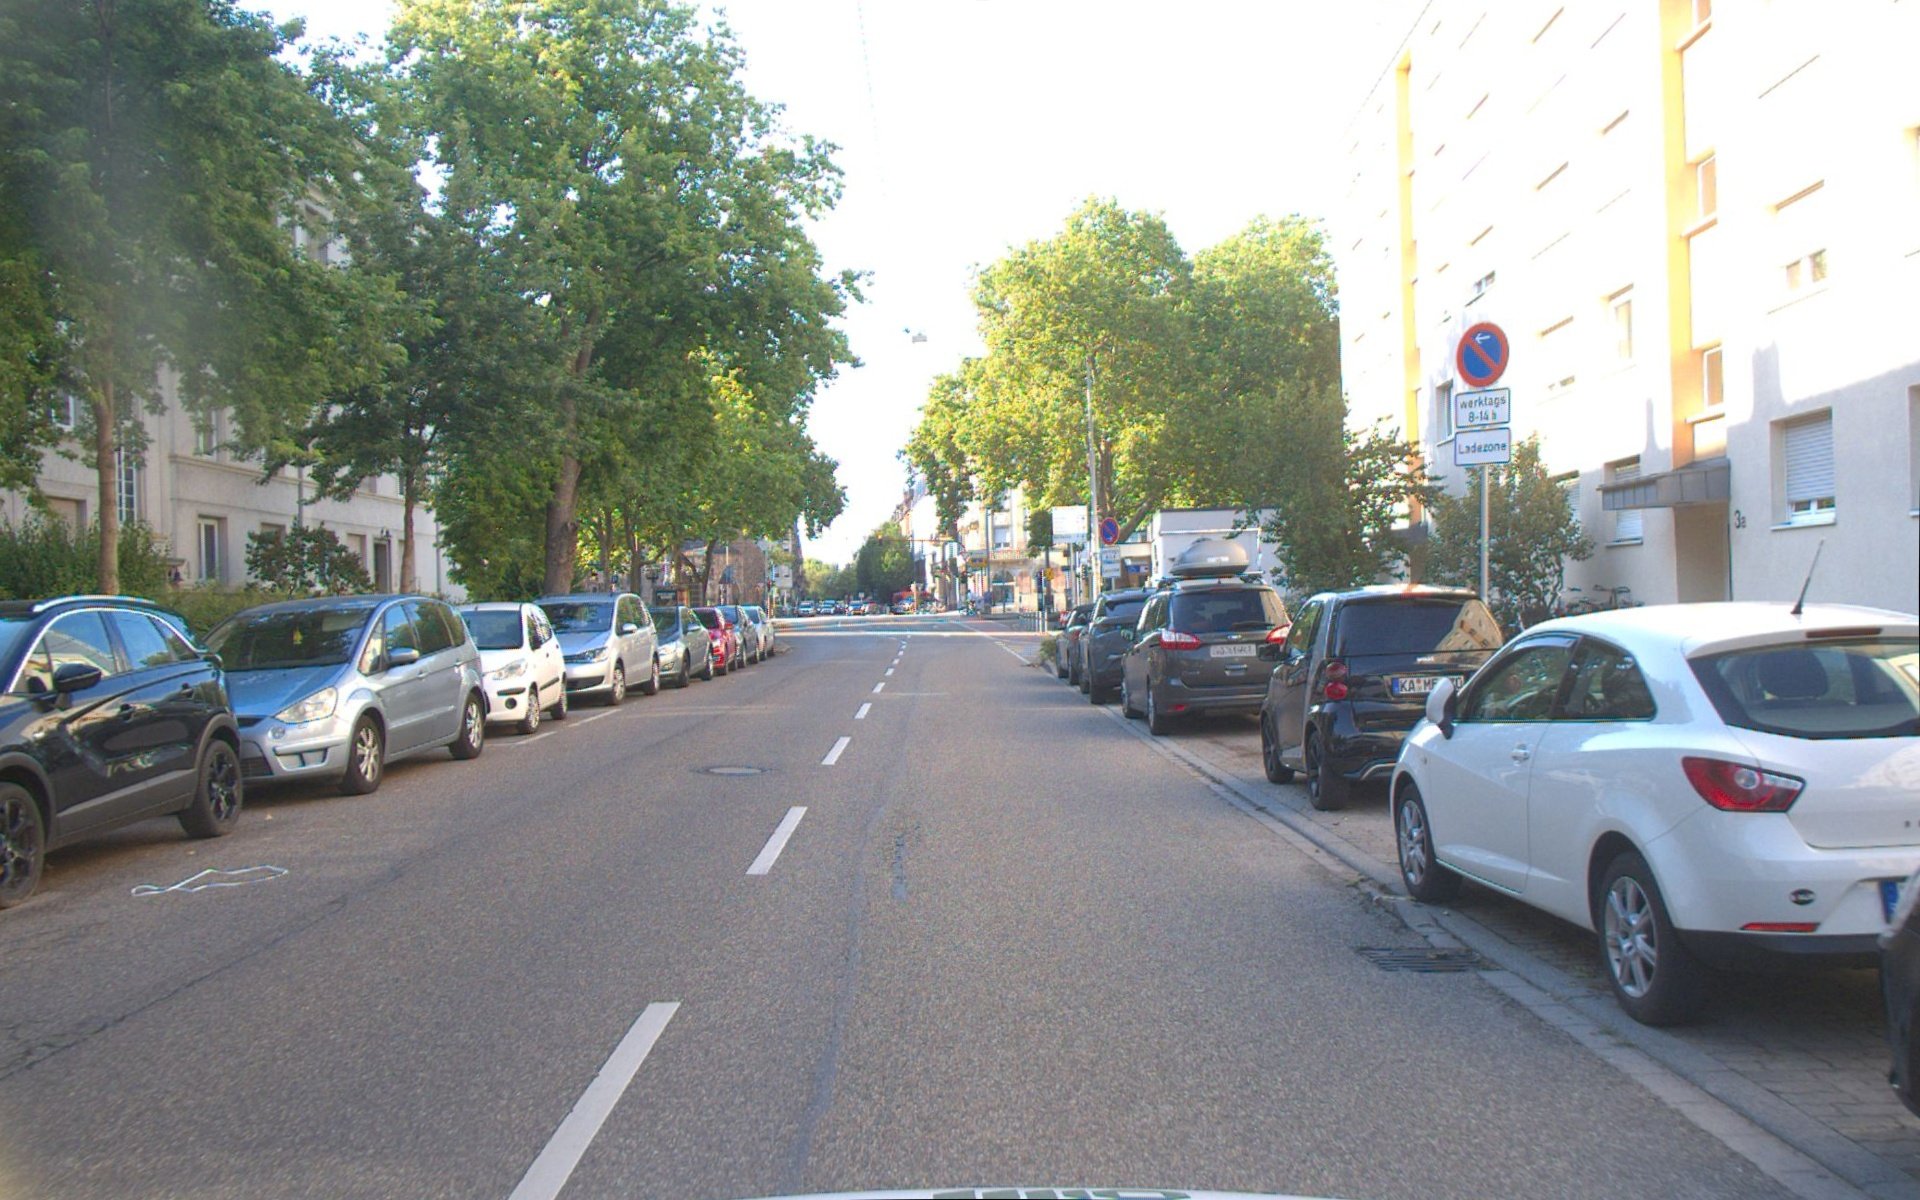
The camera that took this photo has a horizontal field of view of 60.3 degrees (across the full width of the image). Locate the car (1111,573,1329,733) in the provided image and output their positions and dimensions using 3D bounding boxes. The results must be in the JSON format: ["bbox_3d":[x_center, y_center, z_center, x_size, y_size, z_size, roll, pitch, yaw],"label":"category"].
[{"bbox_3d":[3.009,0.563,20.031,1.859,1.680,4.342,-1,0,-1],"label":"car"}]

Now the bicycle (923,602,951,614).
[{"bbox_3d":[-2.272,0.803,163.832,2.750,1.225,0.509,0,-1,-8],"label":"bicycle"}]

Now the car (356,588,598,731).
[{"bbox_3d":[-5.836,0.702,20.494,1.833,1.586,4.100,0,-1,-1],"label":"car"}]

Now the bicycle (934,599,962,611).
[{"bbox_3d":[-1.246,0.506,165.260,2.752,1.225,0.515,1,-1,-11],"label":"bicycle"}]

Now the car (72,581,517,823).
[{"bbox_3d":[-5.549,0.732,14.647,1.834,1.585,5.055,-6,0,-1],"label":"car"}]

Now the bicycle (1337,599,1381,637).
[{"bbox_3d":[10.870,0.486,45.122,0.623,0.941,2.230,0,1,-1],"label":"bicycle"}]

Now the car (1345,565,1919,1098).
[{"bbox_3d":[3.044,0.646,6.915,1.645,1.440,4.722,-2,-1,-1],"label":"car"}]

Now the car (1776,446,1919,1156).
[{"bbox_3d":[3.385,0.437,2.300,1.983,1.780,4.765,-4,0,-1],"label":"car"}]

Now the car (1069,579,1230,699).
[{"bbox_3d":[2.831,0.588,25.658,1.888,1.688,4.676,0,-1,-1],"label":"car"}]

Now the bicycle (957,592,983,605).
[{"bbox_3d":[0.707,-0.123,119.348,1.746,0.911,0.750,-1,0,24],"label":"bicycle"}]

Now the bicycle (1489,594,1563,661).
[{"bbox_3d":[9.041,0.443,26.464,0.599,1.039,1.833,0,-1,1],"label":"bicycle"}]

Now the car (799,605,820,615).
[{"bbox_3d":[-18.019,1.154,198.286,1.560,1.164,3.386,0,-1,14],"label":"car"}]

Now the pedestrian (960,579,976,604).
[{"bbox_3d":[0.573,-0.623,117.891,0.972,1.738,0.627,0,-1,29],"label":"pedestrian"}]

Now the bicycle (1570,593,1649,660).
[{"bbox_3d":[10.408,0.425,26.562,0.599,1.039,1.833,0,-1,1],"label":"bicycle"}]

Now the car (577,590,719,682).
[{"bbox_3d":[-5.717,0.665,30.822,1.833,1.586,4.496,0,-1,-1],"label":"car"}]

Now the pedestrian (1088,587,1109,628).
[{"bbox_3d":[7.146,0.412,85.407,0.810,2.048,1.152,-5,-1,-1],"label":"pedestrian"}]

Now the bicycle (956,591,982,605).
[{"bbox_3d":[0.665,-0.160,117.844,1.750,0.999,0.656,-1,0,29],"label":"bicycle"}]

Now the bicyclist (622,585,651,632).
[{"bbox_3d":[-14.057,0.373,71.917,0.957,2.049,0.795,-1,-1,34],"label":"bicyclist"}]

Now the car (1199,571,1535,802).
[{"bbox_3d":[3.026,0.613,13.129,1.573,1.520,4.040,-1,-1,-1],"label":"car"}]

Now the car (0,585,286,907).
[{"bbox_3d":[-5.685,0.761,9.556,1.833,1.586,4.364,-1,-1,-1],"label":"car"}]

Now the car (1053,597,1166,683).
[{"bbox_3d":[2.746,0.744,31.060,1.705,1.499,3.999,0,-1,-1],"label":"car"}]

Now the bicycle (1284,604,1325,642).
[{"bbox_3d":[9.340,0.619,44.923,0.623,0.941,2.230,0,1,-1],"label":"bicycle"}]

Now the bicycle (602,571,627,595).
[{"bbox_3d":[-18.056,-0.855,86.524,0.703,1.166,3.291,0,-1,-1],"label":"bicycle"}]

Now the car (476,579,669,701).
[{"bbox_3d":[-5.891,0.611,25.777,1.877,1.707,4.972,0,-1,-1],"label":"car"}]

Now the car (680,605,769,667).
[{"bbox_3d":[-5.832,0.900,41.339,1.669,1.465,4.128,0,-1,-1],"label":"car"}]

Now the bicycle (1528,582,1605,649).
[{"bbox_3d":[9.705,0.257,26.524,0.599,1.039,1.833,0,-1,1],"label":"bicycle"}]

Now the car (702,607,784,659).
[{"bbox_3d":[-6.011,0.911,46.272,1.733,1.376,4.709,0,-1,-1],"label":"car"}]

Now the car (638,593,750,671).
[{"bbox_3d":[-5.716,0.686,35.967,1.833,1.586,3.999,0,-1,-1],"label":"car"}]

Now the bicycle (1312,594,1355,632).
[{"bbox_3d":[10.160,0.347,45.026,0.623,0.941,2.230,0,1,-1],"label":"bicycle"}]

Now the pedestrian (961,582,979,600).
[{"bbox_3d":[0.717,-0.630,119.364,1.027,1.300,0.792,0,-1,23],"label":"pedestrian"}]
